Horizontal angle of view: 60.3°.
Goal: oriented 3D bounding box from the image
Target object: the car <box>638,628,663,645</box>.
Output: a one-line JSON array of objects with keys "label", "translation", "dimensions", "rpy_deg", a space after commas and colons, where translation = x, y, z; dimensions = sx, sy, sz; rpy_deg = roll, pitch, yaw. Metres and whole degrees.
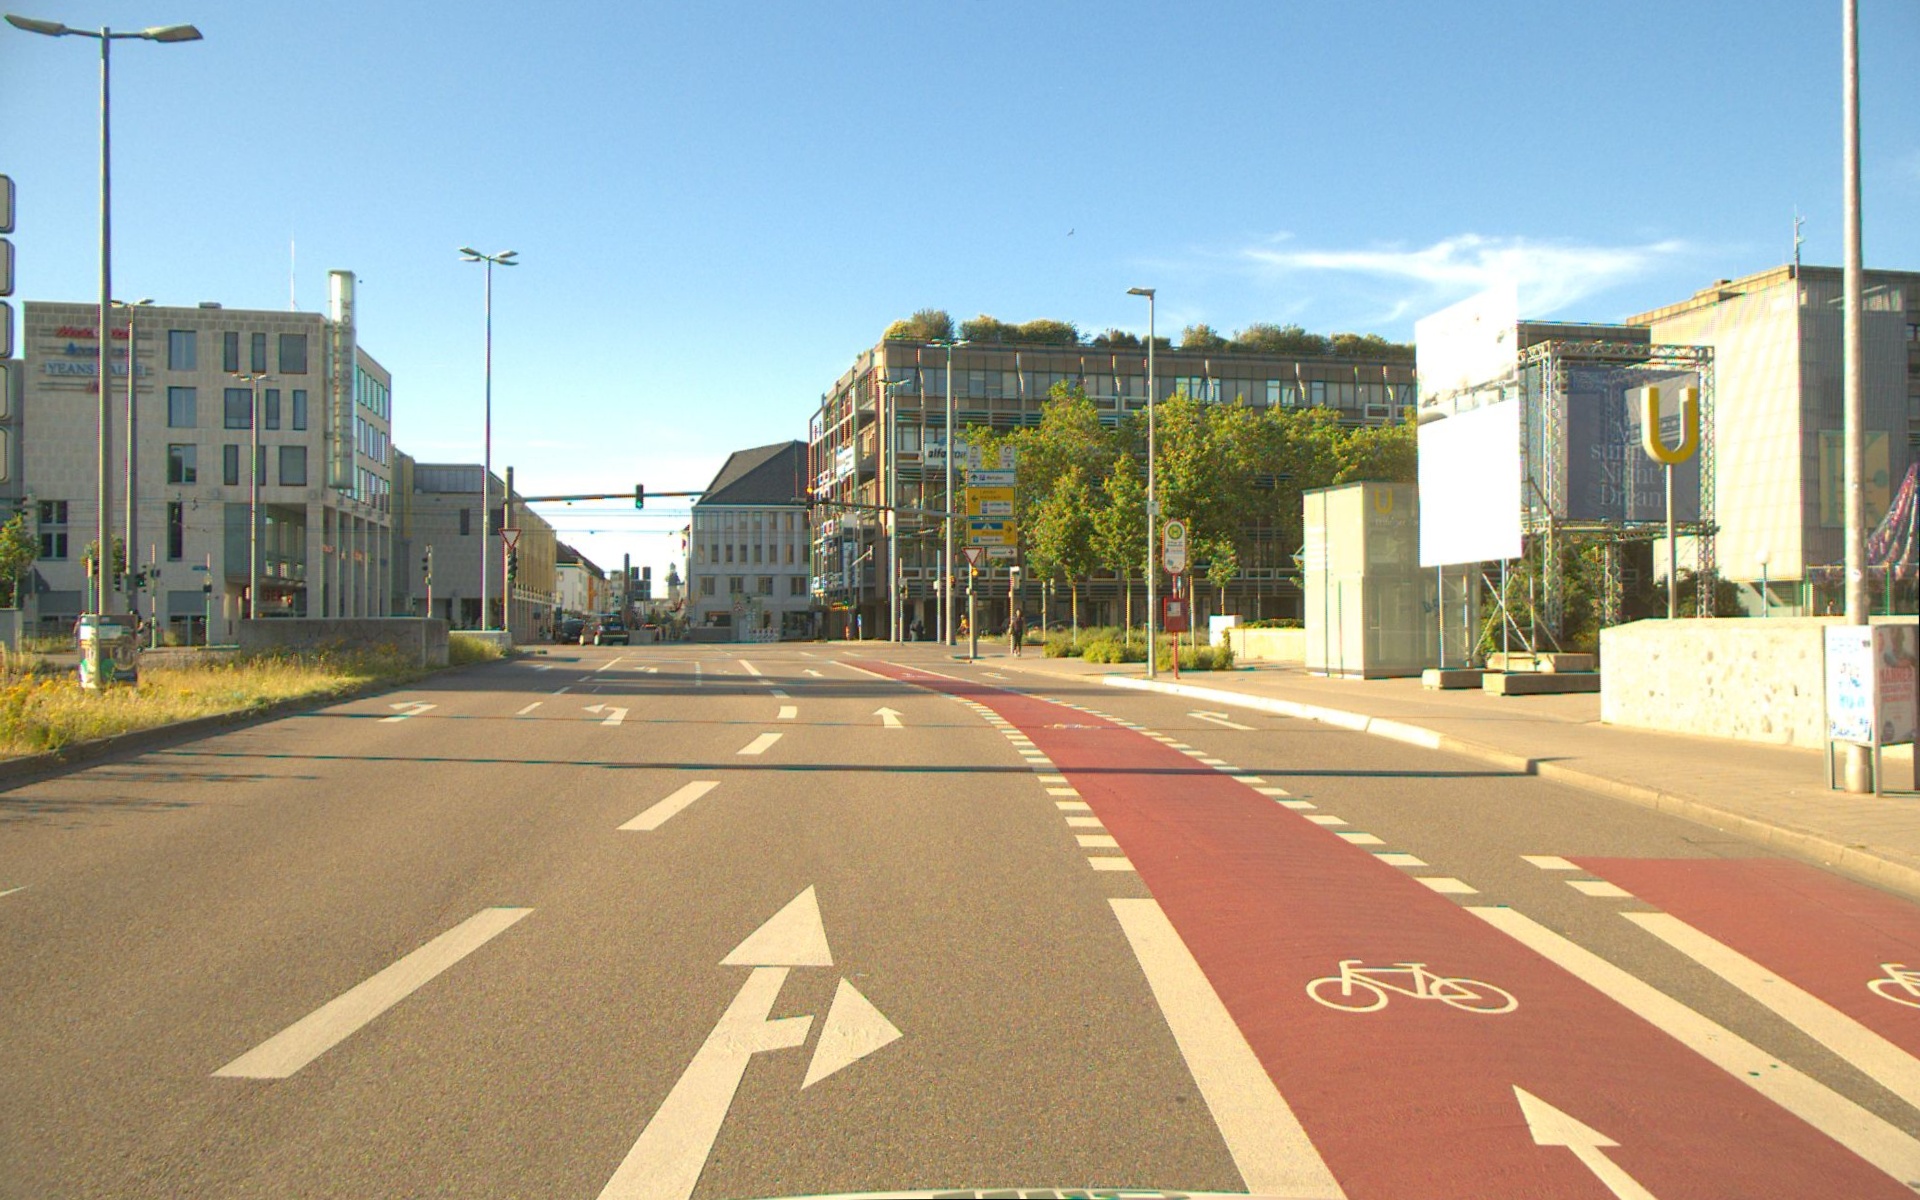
[{"label": "car", "translation": [-29.188, 3.435, 155.960], "dimensions": [1.960, 1.579, 3.984], "rpy_deg": [0, -1, -15]}]

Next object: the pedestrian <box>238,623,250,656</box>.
[{"label": "pedestrian", "translation": [-44.818, 2.445, 103.578], "dimensions": [0.613, 2.049, 0.513], "rpy_deg": [0, -1, -18]}]

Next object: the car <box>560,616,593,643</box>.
[{"label": "car", "translation": [-27.184, 2.091, 117.224], "dimensions": [1.957, 1.773, 4.636], "rpy_deg": [0, 0, -9]}]

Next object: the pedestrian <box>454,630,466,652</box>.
[{"label": "pedestrian", "translation": [-38.432, 3.145, 127.052], "dimensions": [0.736, 1.636, 0.617], "rpy_deg": [1, -1, -36]}]

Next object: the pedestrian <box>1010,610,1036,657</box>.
[{"label": "pedestrian", "translation": [2.413, 1.285, 63.097], "dimensions": [0.804, 1.779, 1.042], "rpy_deg": [-1, -1, 13]}]

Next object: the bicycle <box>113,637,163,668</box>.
[{"label": "bicycle", "translation": [-24.465, 1.563, 49.259], "dimensions": [0.600, 0.877, 1.949], "rpy_deg": [0, -1, -4]}]

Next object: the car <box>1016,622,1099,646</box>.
[{"label": "car", "translation": [5.805, 2.014, 98.549], "dimensions": [4.550, 1.380, 1.994], "rpy_deg": [0, 0, -13]}]

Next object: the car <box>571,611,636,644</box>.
[{"label": "car", "translation": [-17.480, 1.327, 81.036], "dimensions": [1.762, 1.591, 3.740], "rpy_deg": [0, -1, -36]}]

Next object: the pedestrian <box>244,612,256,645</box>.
[{"label": "pedestrian", "translation": [-44.519, 1.771, 103.688], "dimensions": [0.613, 2.049, 0.513], "rpy_deg": [0, -1, -18]}]

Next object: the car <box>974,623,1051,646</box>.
[{"label": "car", "translation": [3.347, 2.189, 105.871], "dimensions": [4.550, 1.380, 1.994], "rpy_deg": [0, 0, -13]}]

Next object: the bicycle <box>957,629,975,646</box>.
[{"label": "bicycle", "translation": [0.355, 2.251, 98.641], "dimensions": [1.056, 0.988, 0.457], "rpy_deg": [0, -1, -7]}]

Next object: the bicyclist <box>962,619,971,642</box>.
[{"label": "bicyclist", "translation": [0.406, 1.806, 98.661], "dimensions": [0.498, 1.362, 0.452], "rpy_deg": [0, -1, -6]}]

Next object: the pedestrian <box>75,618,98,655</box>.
[{"label": "pedestrian", "translation": [-36.420, 1.519, 68.967], "dimensions": [0.711, 1.528, 0.799], "rpy_deg": [0, -1, -18]}]

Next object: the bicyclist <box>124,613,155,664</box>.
[{"label": "bicyclist", "translation": [-24.463, 1.133, 49.290], "dimensions": [0.595, 1.515, 0.680], "rpy_deg": [0, -1, -4]}]
